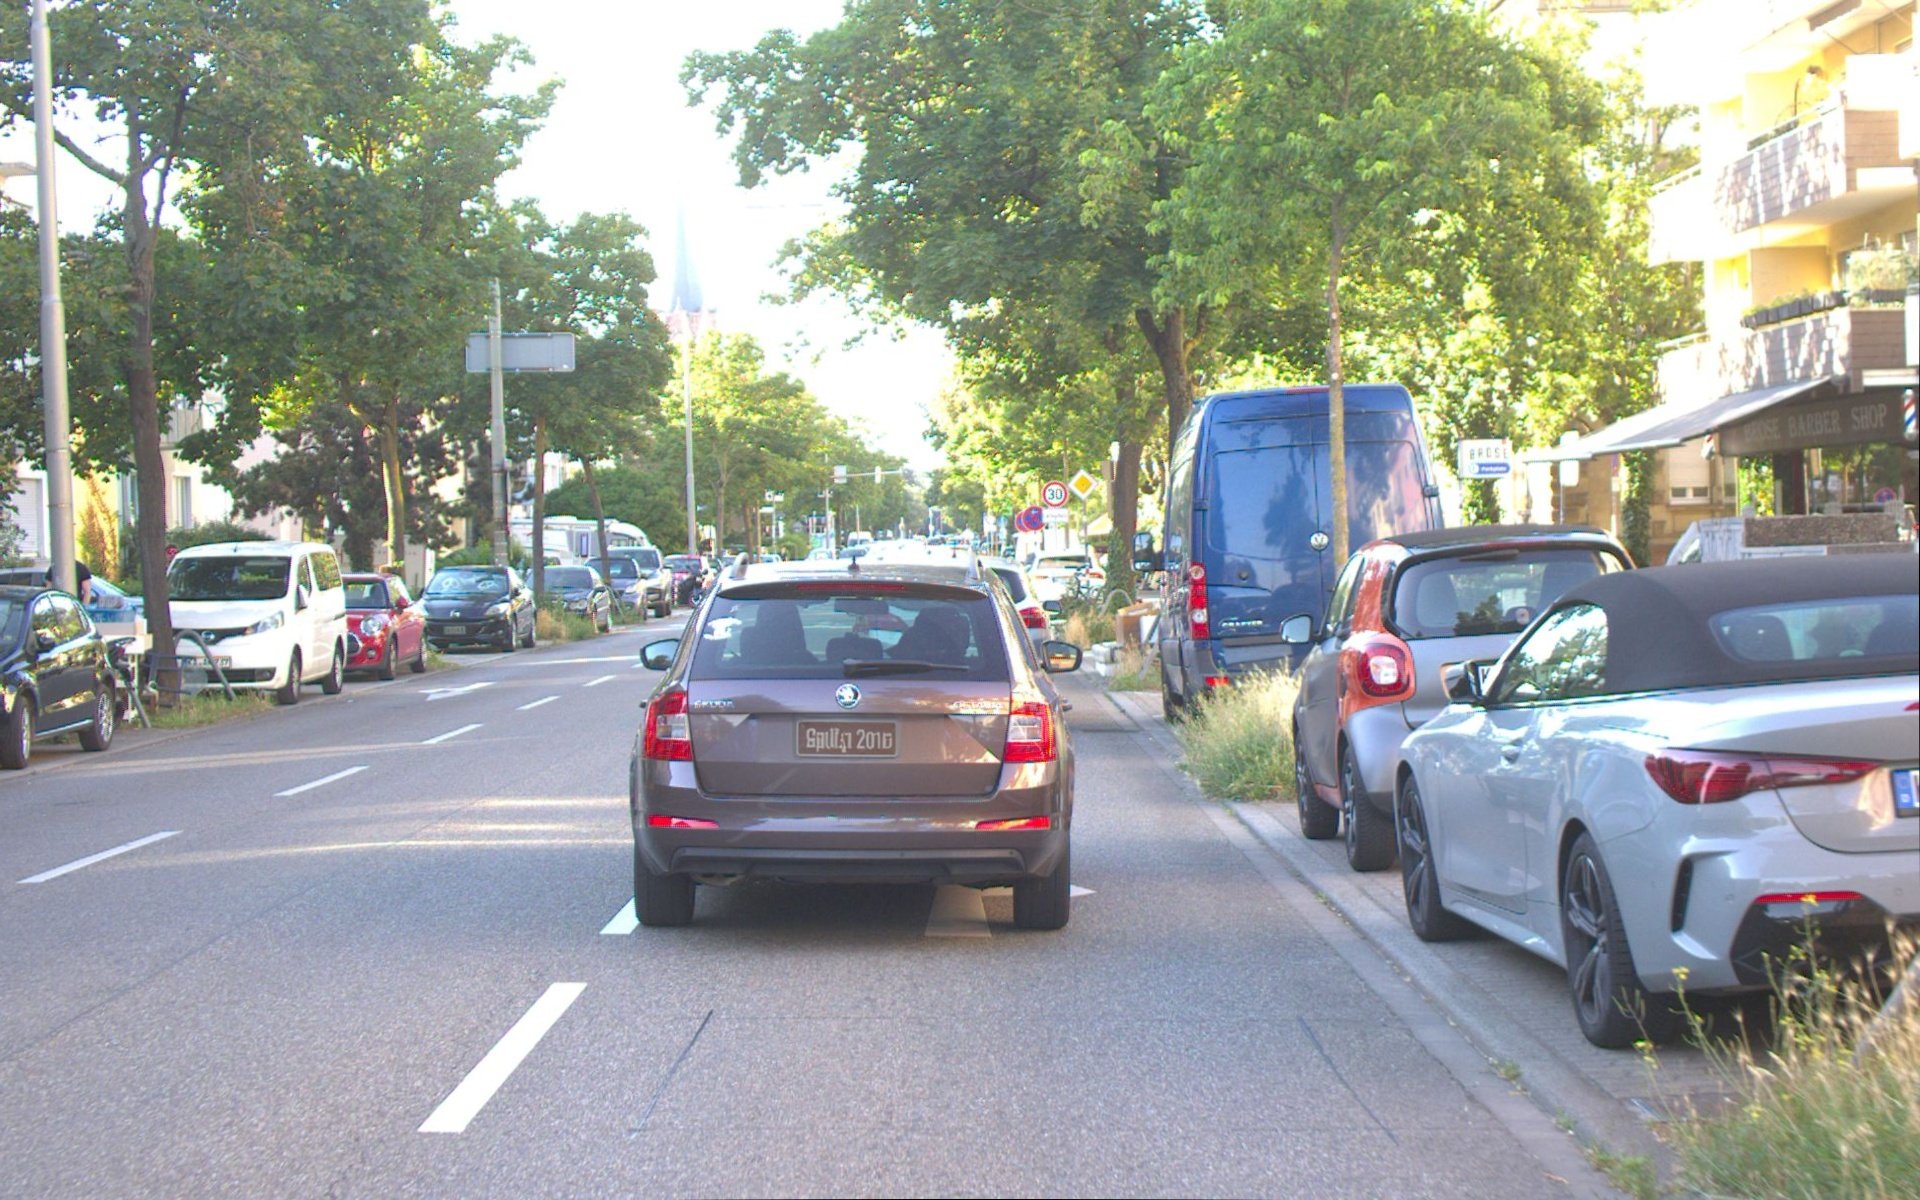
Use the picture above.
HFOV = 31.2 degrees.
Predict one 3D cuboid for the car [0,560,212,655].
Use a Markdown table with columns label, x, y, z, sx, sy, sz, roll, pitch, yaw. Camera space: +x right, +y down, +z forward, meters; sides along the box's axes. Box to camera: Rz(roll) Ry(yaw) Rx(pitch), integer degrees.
| label | x | y | z | sx | sy | sz | roll | pitch | yaw |
| --- | --- | --- | --- | --- | --- | --- | --- | --- | --- |
| car | -14.368 | 0.115 | 55.993 | 3.986 | 1.474 | 2.000 | 0 | 1 | -3 |

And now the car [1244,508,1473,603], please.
| label | x | y | z | sx | sy | sz | roll | pitch | yaw |
| --- | --- | --- | --- | --- | --- | --- | --- | --- | --- |
| car | 8.523 | -0.962 | 73.472 | 4.532 | 1.886 | 1.915 | -2 | 1 | -27 |

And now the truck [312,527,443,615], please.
| label | x | y | z | sx | sy | sz | roll | pitch | yaw |
| --- | --- | --- | --- | --- | --- | --- | --- | --- | --- |
| truck | -14.395 | -0.736 | 85.041 | 2.913 | 2.086 | 1.546 | -1 | 1 | 0 |

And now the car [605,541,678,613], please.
| label | x | y | z | sx | sy | sz | roll | pitch | yaw |
| --- | --- | --- | --- | --- | --- | --- | --- | --- | --- |
| car | -8.144 | -0.619 | 88.225 | 1.507 | 1.751 | 3.694 | -1 | 1 | 0 |

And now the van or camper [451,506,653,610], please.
| label | x | y | z | sx | sy | sz | roll | pitch | yaw |
| --- | --- | --- | --- | --- | --- | --- | --- | --- | --- |
| van or camper | -15.975 | -1.659 | 134.793 | 7.639 | 3.861 | 2.000 | -1 | 1 | -2 |

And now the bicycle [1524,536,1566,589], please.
| label | x | y | z | sx | sy | sz | roll | pitch | yaw |
| --- | --- | --- | --- | --- | --- | --- | --- | --- | --- |
| bicycle | 10.739 | -0.695 | 63.159 | 0.342 | 0.947 | 1.582 | 1 | 1 | -6 |

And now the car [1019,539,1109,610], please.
| label | x | y | z | sx | sy | sz | roll | pitch | yaw |
| --- | --- | --- | --- | --- | --- | --- | --- | --- | --- |
| car | 2.226 | -0.565 | 73.328 | 1.821 | 1.408 | 4.111 | -1 | 1 | 2 |

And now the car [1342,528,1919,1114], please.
| label | x | y | z | sx | sy | sz | roll | pitch | yaw |
| --- | --- | --- | --- | --- | --- | --- | --- | --- | --- |
| car | 2.646 | 0.531 | 11.444 | 1.920 | 1.481 | 4.747 | -1 | 1 | -3 |

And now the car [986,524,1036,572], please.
| label | x | y | z | sx | sy | sz | roll | pitch | yaw |
| --- | --- | --- | --- | --- | --- | --- | --- | --- | --- |
| car | 1.968 | -2.033 | 133.248 | 1.729 | 1.809 | 3.951 | -1 | 1 | -1 |

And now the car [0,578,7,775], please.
| label | x | y | z | sx | sy | sz | roll | pitch | yaw |
| --- | --- | --- | --- | --- | --- | --- | --- | --- | --- |
| car | -8.199 | 0.653 | 24.251 | 1.750 | 1.497 | 4.197 | -1 | 1 | 0 |

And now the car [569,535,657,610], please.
| label | x | y | z | sx | sy | sz | roll | pitch | yaw |
| --- | --- | --- | --- | --- | --- | --- | --- | --- | --- |
| car | -8.413 | -0.690 | 83.557 | 1.750 | 1.734 | 3.591 | -1 | 1 | 0 |

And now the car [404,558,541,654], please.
| label | x | y | z | sx | sy | sz | roll | pitch | yaw |
| --- | --- | --- | --- | --- | --- | --- | --- | --- | --- |
| car | -8.322 | 0.078 | 58.960 | 1.717 | 1.492 | 4.248 | -1 | 1 | 0 |

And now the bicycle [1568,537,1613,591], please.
| label | x | y | z | sx | sy | sz | roll | pitch | yaw |
| --- | --- | --- | --- | --- | --- | --- | --- | --- | --- |
| bicycle | 11.467 | -0.652 | 62.564 | 0.342 | 0.947 | 1.582 | -4 | 1 | -5 |

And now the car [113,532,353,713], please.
| label | x | y | z | sx | sy | sz | roll | pitch | yaw |
| --- | --- | --- | --- | --- | --- | --- | --- | --- | --- |
| car | -8.306 | 0.201 | 39.656 | 1.770 | 1.912 | 4.460 | -1 | 1 | 0 |

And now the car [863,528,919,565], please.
| label | x | y | z | sx | sy | sz | roll | pitch | yaw |
| --- | --- | --- | --- | --- | --- | --- | --- | --- | --- |
| car | -3.445 | -2.675 | 172.140 | 1.877 | 1.751 | 4.176 | -1 | 1 | 12 |

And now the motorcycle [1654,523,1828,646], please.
| label | x | y | z | sx | sy | sz | roll | pitch | yaw |
| --- | --- | --- | --- | --- | --- | --- | --- | --- | --- |
| motorcycle | 10.603 | -0.214 | 46.718 | 2.195 | 1.615 | 0.889 | -1 | 1 | 7 |

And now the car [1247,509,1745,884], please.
| label | x | y | z | sx | sy | sz | roll | pitch | yaw |
| --- | --- | --- | --- | --- | --- | --- | --- | --- | --- |
| car | 2.553 | 0.414 | 17.237 | 1.772 | 1.636 | 3.757 | -1 | 0 | -2 |

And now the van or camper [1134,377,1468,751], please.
| label | x | y | z | sx | sy | sz | roll | pitch | yaw |
| --- | --- | --- | --- | --- | --- | --- | --- | --- | --- |
| van or camper | 2.623 | -0.289 | 27.907 | 2.068 | 2.666 | 5.990 | -1 | 0 | 0 |

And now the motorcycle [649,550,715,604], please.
| label | x | y | z | sx | sy | sz | roll | pitch | yaw |
| --- | --- | --- | --- | --- | --- | --- | --- | --- | --- |
| motorcycle | -7.969 | -0.665 | 98.585 | 0.764 | 1.506 | 2.029 | -2 | 2 | -42 |

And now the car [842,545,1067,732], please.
| label | x | y | z | sx | sy | sz | roll | pitch | yaw |
| --- | --- | --- | --- | --- | --- | --- | --- | --- | --- |
| car | -0.109 | 0.290 | 30.749 | 1.729 | 1.488 | 3.951 | -1 | 1 | -4 |

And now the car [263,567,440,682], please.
| label | x | y | z | sx | sy | sz | roll | pitch | yaw |
| --- | --- | --- | --- | --- | --- | --- | --- | --- | --- |
| car | -8.250 | 0.300 | 46.881 | 1.717 | 1.416 | 3.787 | -1 | 1 | 0 |

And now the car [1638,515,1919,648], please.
| label | x | y | z | sx | sy | sz | roll | pitch | yaw |
| --- | --- | --- | --- | --- | --- | --- | --- | --- | --- |
| car | 10.240 | -0.241 | 40.728 | 3.986 | 1.457 | 1.825 | -1 | 1 | -3 |

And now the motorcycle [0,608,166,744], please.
| label | x | y | z | sx | sy | sz | roll | pitch | yaw |
| --- | --- | --- | --- | --- | --- | --- | --- | --- | --- |
| motorcycle | -8.327 | 0.702 | 32.436 | 0.441 | 1.188 | 1.703 | 0 | 2 | 38 |

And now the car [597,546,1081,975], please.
| label | x | y | z | sx | sy | sz | roll | pitch | yaw |
| --- | --- | --- | --- | --- | --- | --- | --- | --- | --- |
| car | -0.398 | 0.556 | 14.491 | 1.729 | 1.488 | 3.951 | -1 | 1 | 1 |

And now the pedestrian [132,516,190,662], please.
| label | x | y | z | sx | sy | sz | roll | pitch | yaw |
| --- | --- | --- | --- | --- | --- | --- | --- | --- | --- |
| pedestrian | -11.125 | -0.165 | 47.879 | 0.626 | 2.007 | 0.616 | -1 | 1 | 0 |

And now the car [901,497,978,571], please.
| label | x | y | z | sx | sy | sz | roll | pitch | yaw |
| --- | --- | --- | --- | --- | --- | --- | --- | --- | --- |
| car | -0.469 | -1.542 | 80.124 | 1.732 | 1.645 | 3.542 | -1 | 1 | 0 |

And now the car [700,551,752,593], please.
| label | x | y | z | sx | sy | sz | roll | pitch | yaw |
| --- | --- | --- | --- | --- | --- | --- | --- | --- | --- |
| car | -8.490 | -1.020 | 124.967 | 1.664 | 1.427 | 3.275 | -1 | 1 | 0 |

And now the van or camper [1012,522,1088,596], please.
| label | x | y | z | sx | sy | sz | roll | pitch | yaw |
| --- | --- | --- | --- | --- | --- | --- | --- | --- | --- |
| van or camper | 2.531 | -1.187 | 97.461 | 1.993 | 2.007 | 4.000 | -1 | 1 | 0 |

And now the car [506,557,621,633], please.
| label | x | y | z | sx | sy | sz | roll | pitch | yaw |
| --- | --- | --- | --- | --- | --- | --- | --- | --- | --- |
| car | -8.083 | -0.120 | 70.378 | 1.754 | 1.415 | 4.425 | -1 | 1 | 1 |

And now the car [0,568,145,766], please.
| label | x | y | z | sx | sy | sz | roll | pitch | yaw |
| --- | --- | --- | --- | --- | --- | --- | --- | --- | --- |
| car | -8.289 | 0.529 | 29.196 | 1.750 | 1.497 | 3.979 | -1 | 1 | 0 |

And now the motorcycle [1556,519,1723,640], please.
| label | x | y | z | sx | sy | sz | roll | pitch | yaw |
| --- | --- | --- | --- | --- | --- | --- | --- | --- | --- |
| motorcycle | 9.404 | -0.291 | 47.633 | 2.195 | 1.615 | 0.731 | -1 | 1 | 7 |

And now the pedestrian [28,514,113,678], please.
| label | x | y | z | sx | sy | sz | roll | pitch | yaw |
| --- | --- | --- | --- | --- | --- | --- | --- | --- | --- |
| pedestrian | -11.096 | -0.056 | 42.920 | 0.767 | 2.007 | 0.976 | -1 | 1 | 0 |
